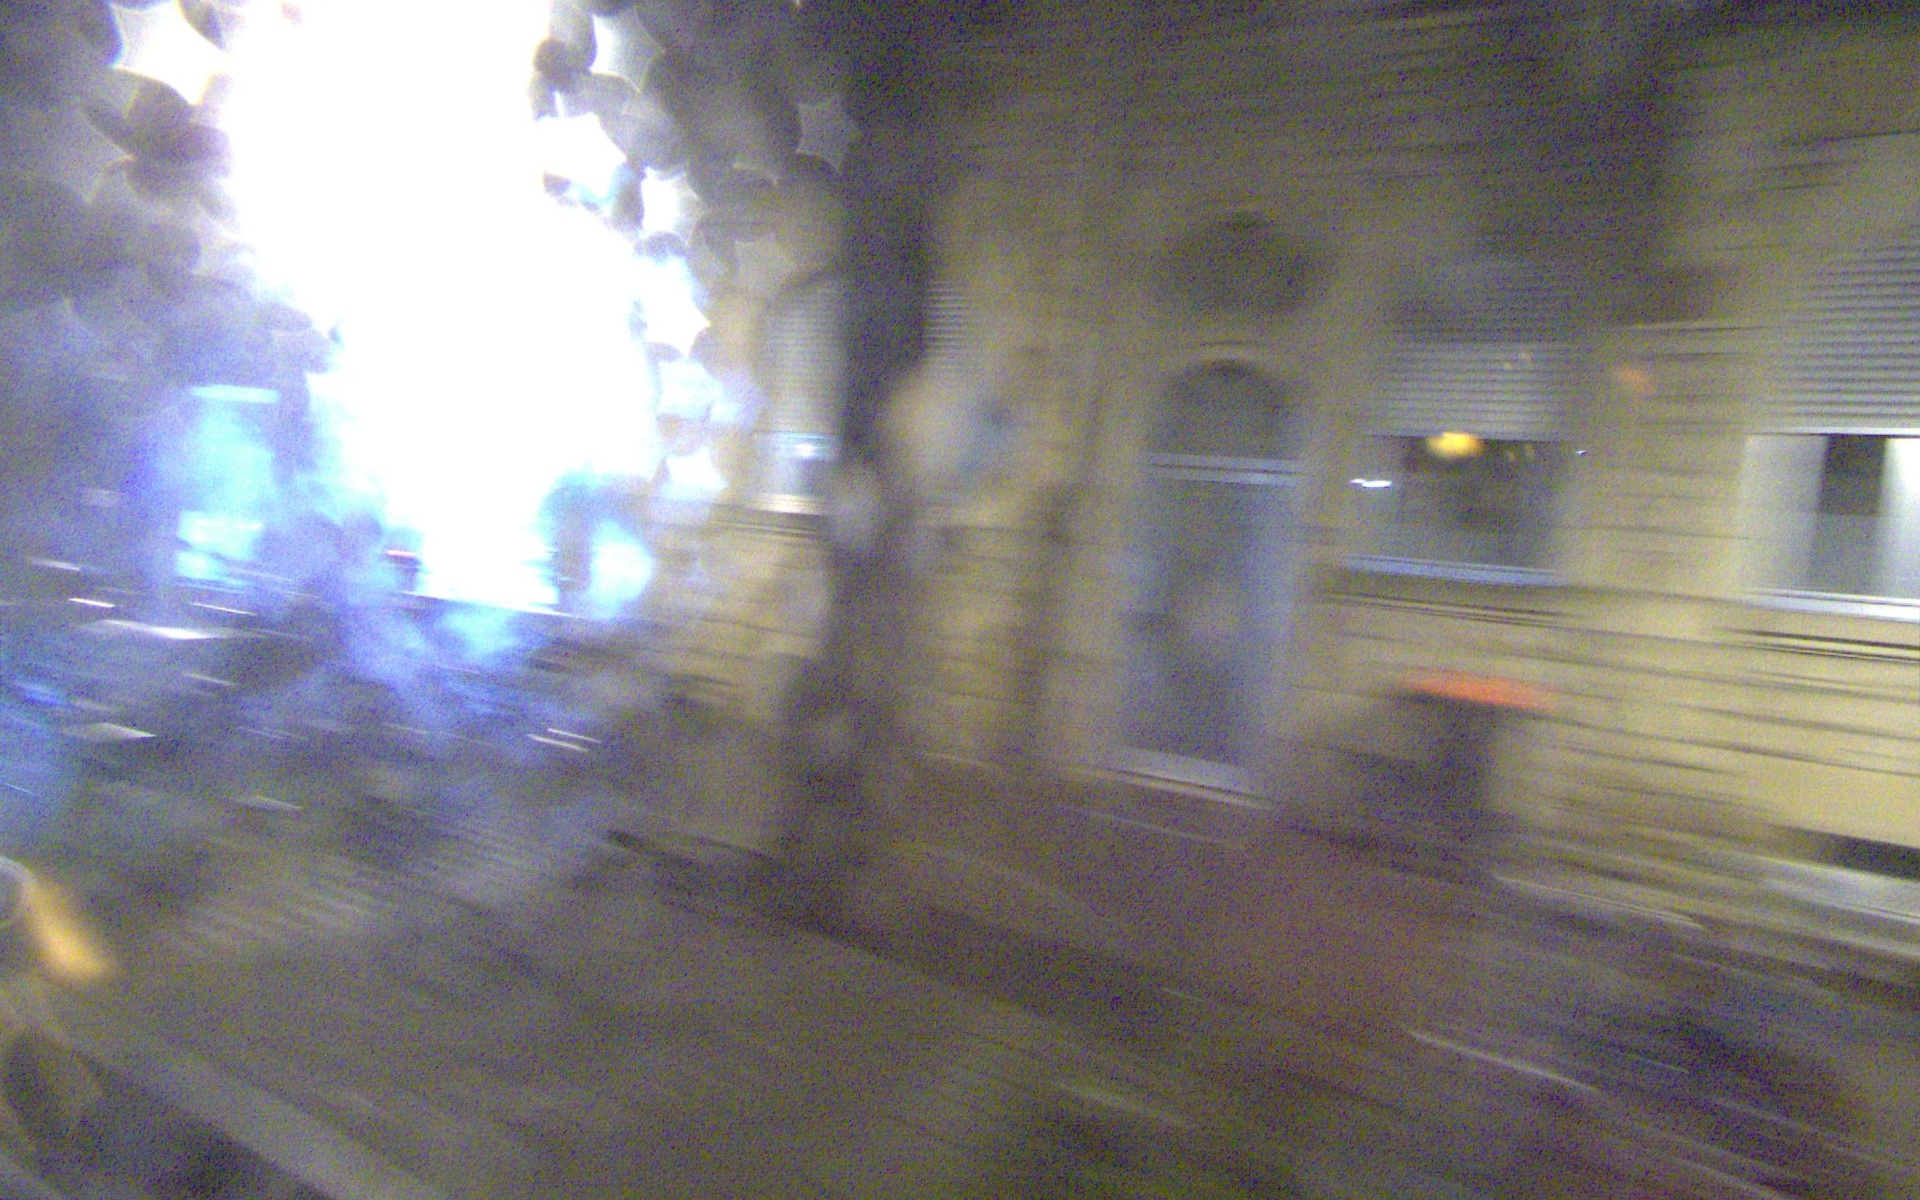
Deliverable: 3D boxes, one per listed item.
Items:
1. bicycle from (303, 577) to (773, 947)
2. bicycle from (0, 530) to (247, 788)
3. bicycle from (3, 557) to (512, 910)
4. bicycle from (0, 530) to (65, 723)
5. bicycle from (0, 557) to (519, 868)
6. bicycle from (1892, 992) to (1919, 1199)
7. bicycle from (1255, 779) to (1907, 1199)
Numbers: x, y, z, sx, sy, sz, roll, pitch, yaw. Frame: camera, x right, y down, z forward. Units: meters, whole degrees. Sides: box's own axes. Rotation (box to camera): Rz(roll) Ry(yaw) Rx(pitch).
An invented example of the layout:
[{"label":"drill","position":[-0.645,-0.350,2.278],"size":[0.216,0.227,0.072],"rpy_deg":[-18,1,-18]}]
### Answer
[{"label":"bicycle","position":[-1.555,0.528,4.128],"size":[0.707,1.101,1.825],"rpy_deg":[6,1,16]},{"label":"bicycle","position":[-4.338,0.235,4.393],"size":[0.630,1.079,1.974],"rpy_deg":[6,1,16]},{"label":"bicycle","position":[-2.688,0.422,4.199],"size":[0.630,1.067,1.974],"rpy_deg":[6,1,1]},{"label":"bicycle","position":[-5.619,0.105,4.769],"size":[0.630,1.019,1.974],"rpy_deg":[6,1,16]},{"label":"bicycle","position":[-2.949,0.419,4.095],"size":[0.634,1.019,1.963],"rpy_deg":[7,1,44]},{"label":"bicycle","position":[1.873,1.028,1.529],"size":[0.634,1.047,1.963],"rpy_deg":[7,1,44]},{"label":"bicycle","position":[1.342,0.978,1.975],"size":[0.634,1.019,1.963],"rpy_deg":[7,1,44]}]
